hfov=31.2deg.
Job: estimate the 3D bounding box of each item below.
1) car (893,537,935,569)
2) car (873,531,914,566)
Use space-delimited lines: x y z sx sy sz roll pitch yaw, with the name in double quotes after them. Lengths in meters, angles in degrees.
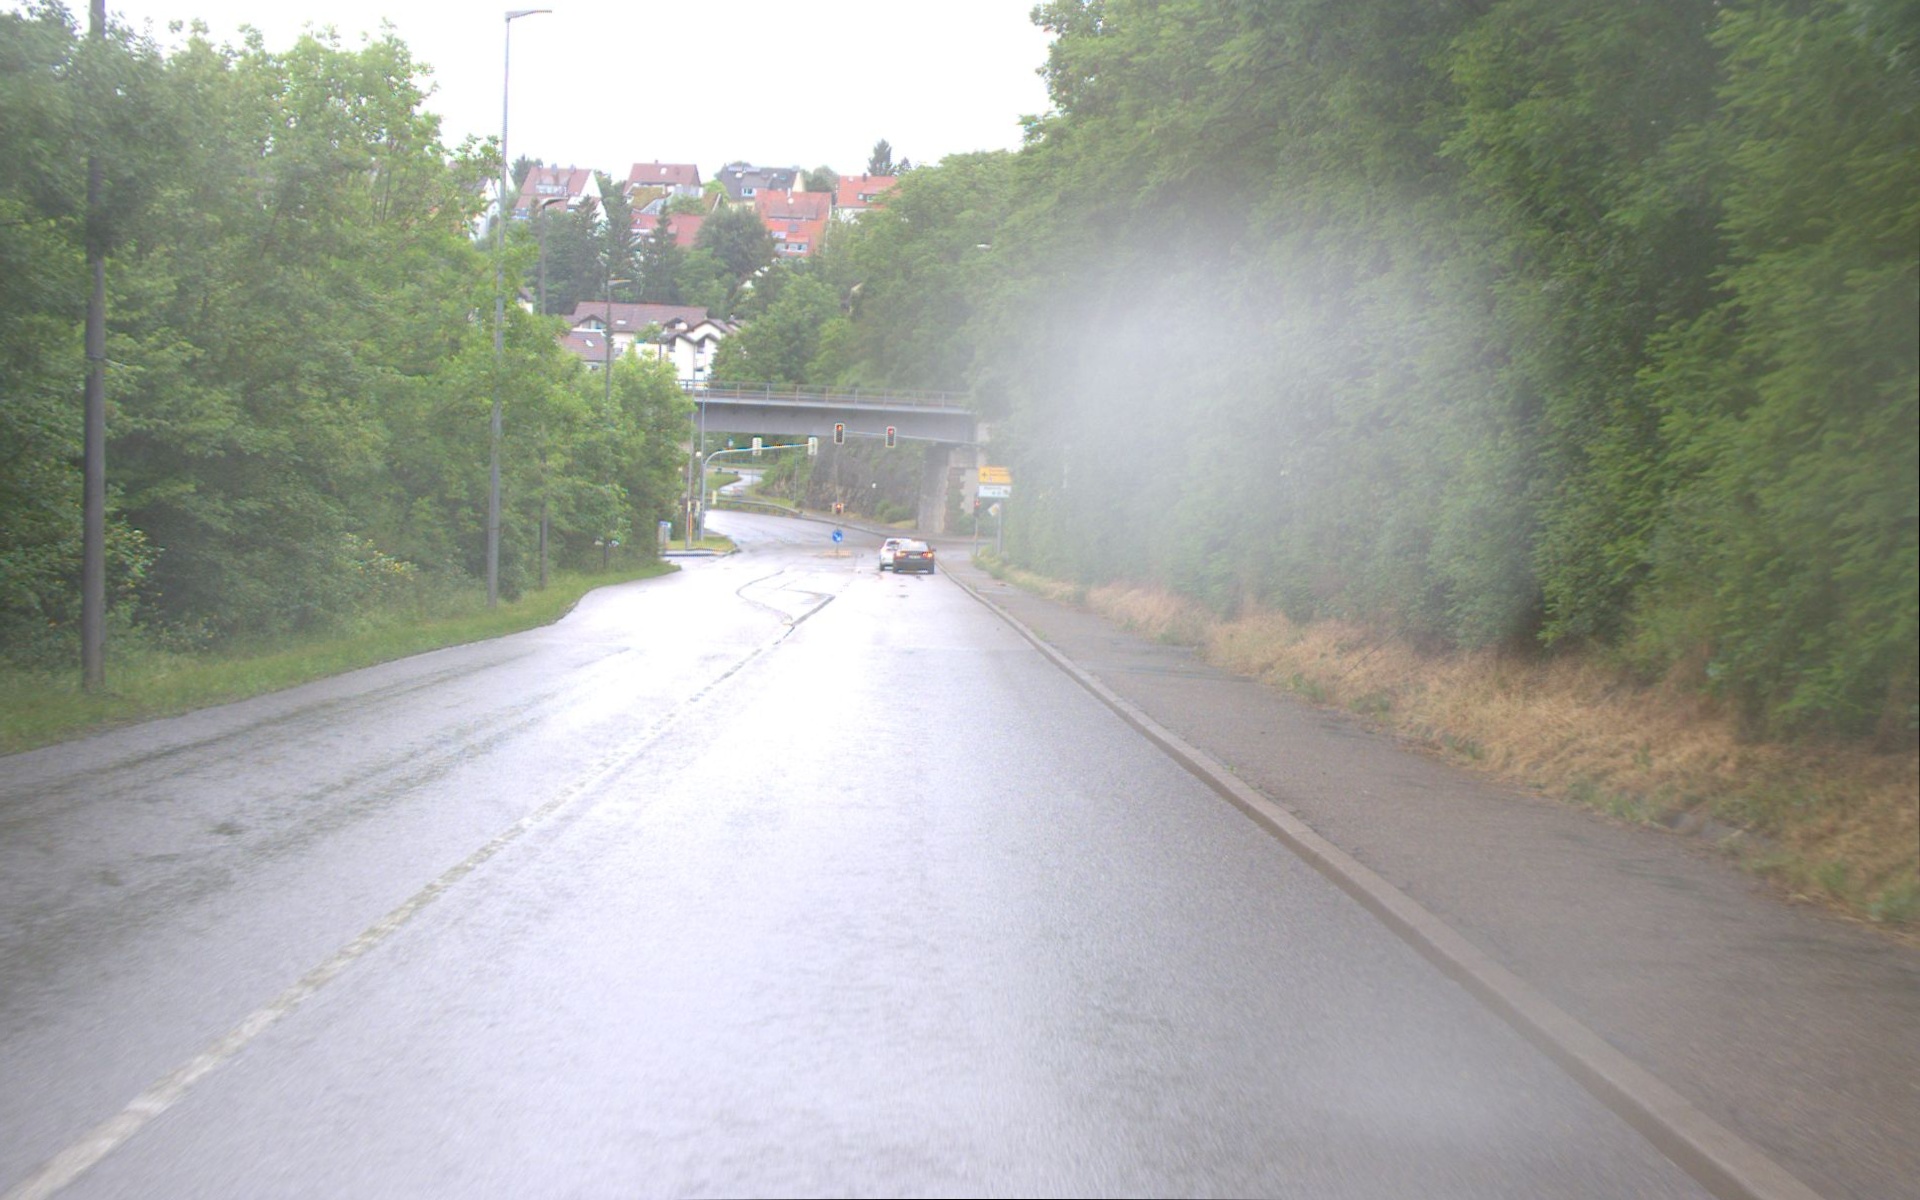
-1.995 -2.044 149.580 1.768 1.375 4.000 1 1 0 "car"
-3.006 -2.333 156.237 1.768 1.557 4.000 1 1 0 "car"
